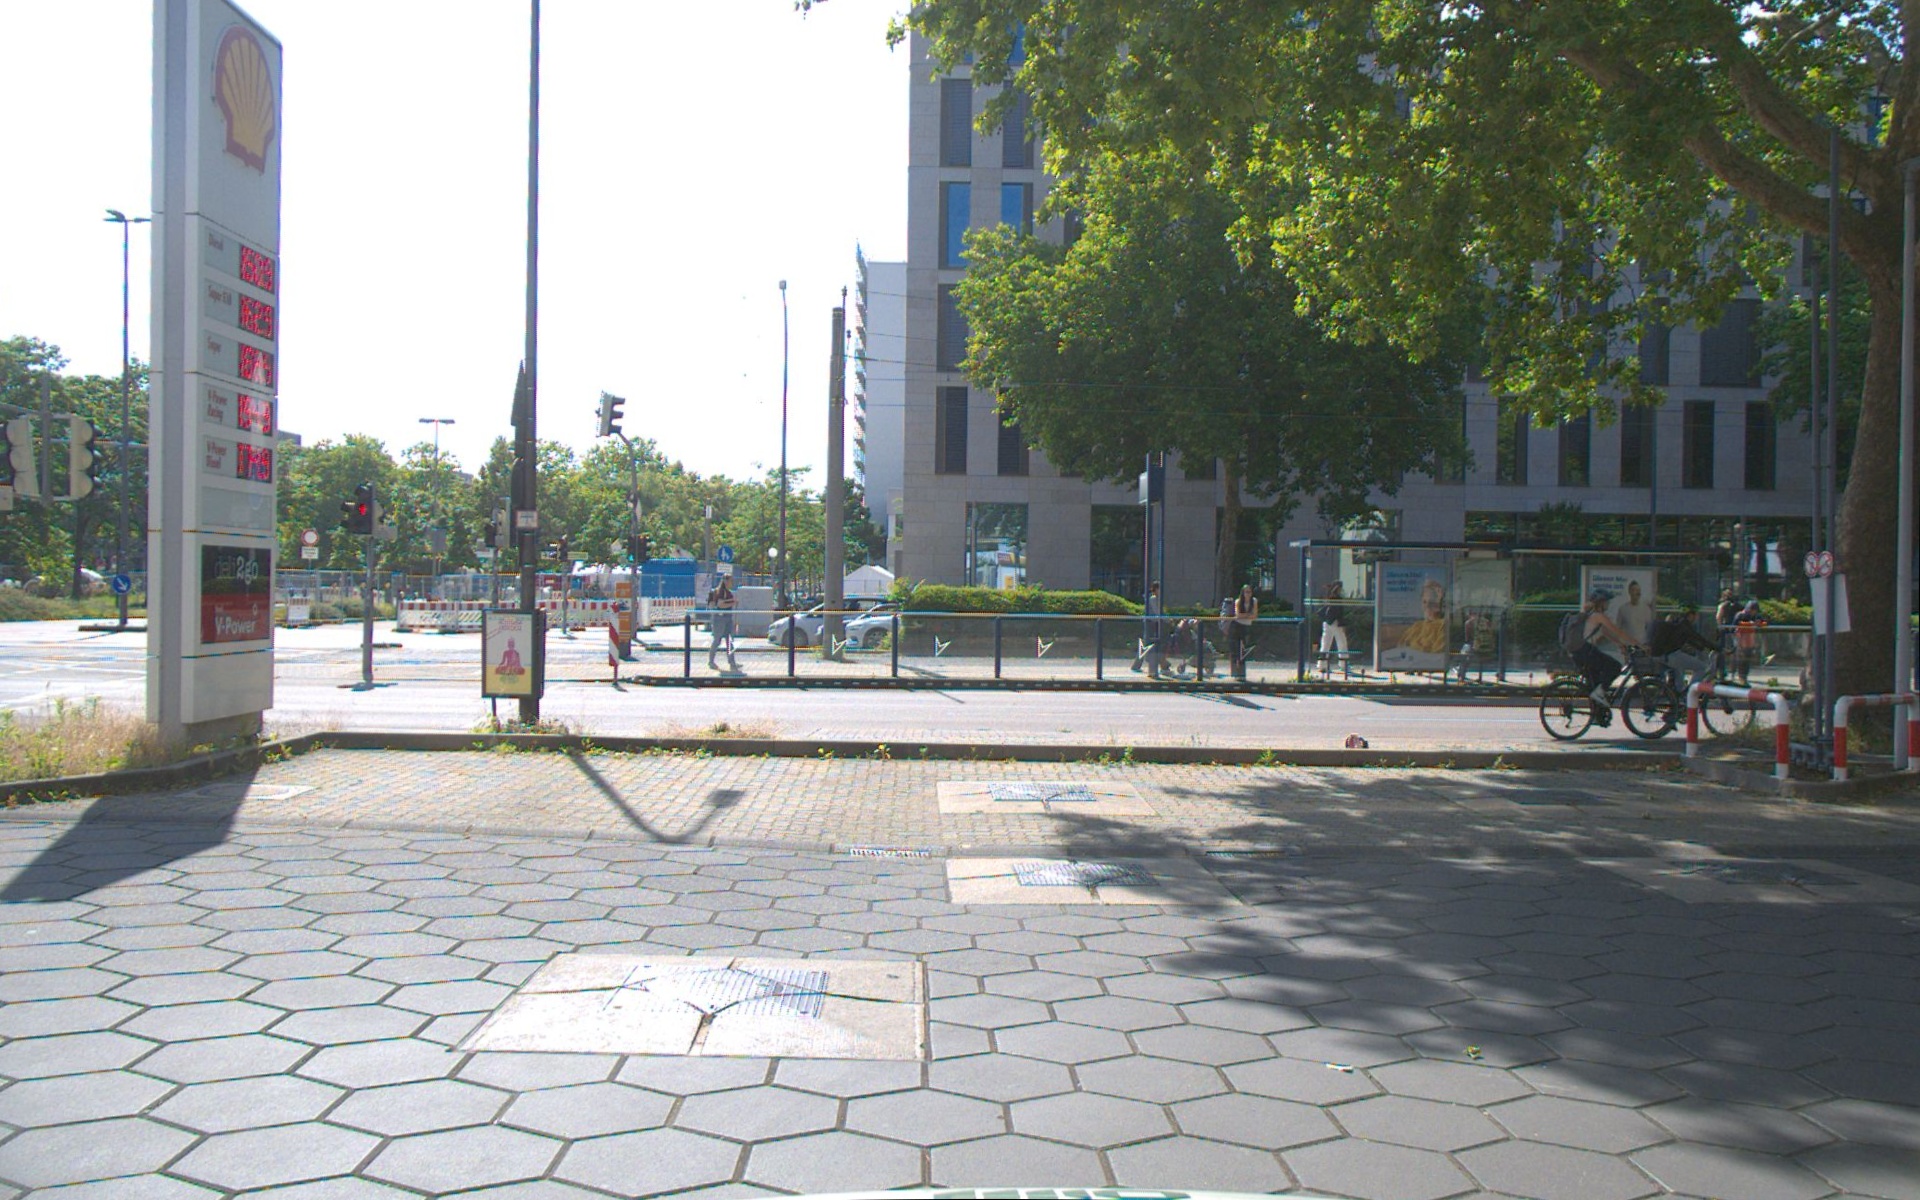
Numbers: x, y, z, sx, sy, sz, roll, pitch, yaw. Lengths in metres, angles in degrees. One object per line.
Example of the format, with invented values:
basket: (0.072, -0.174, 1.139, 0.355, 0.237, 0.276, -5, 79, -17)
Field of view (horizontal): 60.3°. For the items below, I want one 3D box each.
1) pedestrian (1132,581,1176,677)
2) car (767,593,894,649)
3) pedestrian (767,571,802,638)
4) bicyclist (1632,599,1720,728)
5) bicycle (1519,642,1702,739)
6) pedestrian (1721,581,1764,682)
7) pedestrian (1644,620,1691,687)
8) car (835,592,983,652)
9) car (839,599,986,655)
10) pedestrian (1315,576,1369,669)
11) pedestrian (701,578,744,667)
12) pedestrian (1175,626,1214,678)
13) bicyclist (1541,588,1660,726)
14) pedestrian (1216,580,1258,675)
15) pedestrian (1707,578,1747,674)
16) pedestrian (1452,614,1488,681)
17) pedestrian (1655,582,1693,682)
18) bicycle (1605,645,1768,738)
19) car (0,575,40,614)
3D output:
pedestrian: (3.500, 0.515, 29.807, 0.760, 1.712, 0.503, 1, 0, 7)
car: (-3.779, 0.602, 48.141, 3.612, 1.579, 1.589, 1, 0, -7)
pedestrian: (-6.034, 0.155, 56.907, 1.086, 2.287, 1.102, 1, 0, -2)
bicyclist: (8.946, 0.784, 20.670, 0.845, 1.571, 0.534, 1, -1, -4)
bicycle: (7.760, 1.076, 19.757, 1.982, 1.101, 0.638, 1, 0, -9)
pedestrian: (13.806, 0.551, 29.189, 0.488, 1.766, 0.524, 1, 0, 1)
pedestrian: (12.510, 0.948, 29.261, 0.615, 1.158, 0.524, 1, 0, 4)
car: (-1.427, 0.596, 45.352, 3.911, 1.579, 1.700, 1, 0, -7)
car: (-1.174, 0.661, 41.705, 3.607, 1.335, 1.592, 1, 0, -1)
pedestrian: (7.093, 0.413, 30.735, 0.912, 1.712, 0.503, 1, 0, 7)
pedestrian: (-4.220, 0.391, 29.402, 0.636, 1.567, 0.503, 1, 0, 7)
pedestrian: (4.208, 0.930, 29.721, 0.676, 0.895, 0.503, 1, 0, 7)
bicyclist: (7.636, 0.670, 19.735, 1.147, 1.608, 0.639, 1, 0, -9)
pedestrian: (4.816, 0.473, 28.757, 0.572, 1.619, 0.670, 1, 2, -2)
pedestrian: (14.229, 0.474, 30.683, 0.488, 1.766, 0.524, 1, 0, 1)
pedestrian: (8.965, 0.831, 29.059, 0.488, 1.158, 0.524, 1, 0, 4)
pedestrian: (12.634, 0.560, 29.274, 0.488, 1.766, 0.406, 1, 0, 1)
bicycle: (9.069, 1.140, 20.672, 1.824, 1.101, 0.524, 1, 0, -3)
car: (-47.592, -0.256, 81.050, 3.904, 1.847, 2.001, -1, 0, 2)
